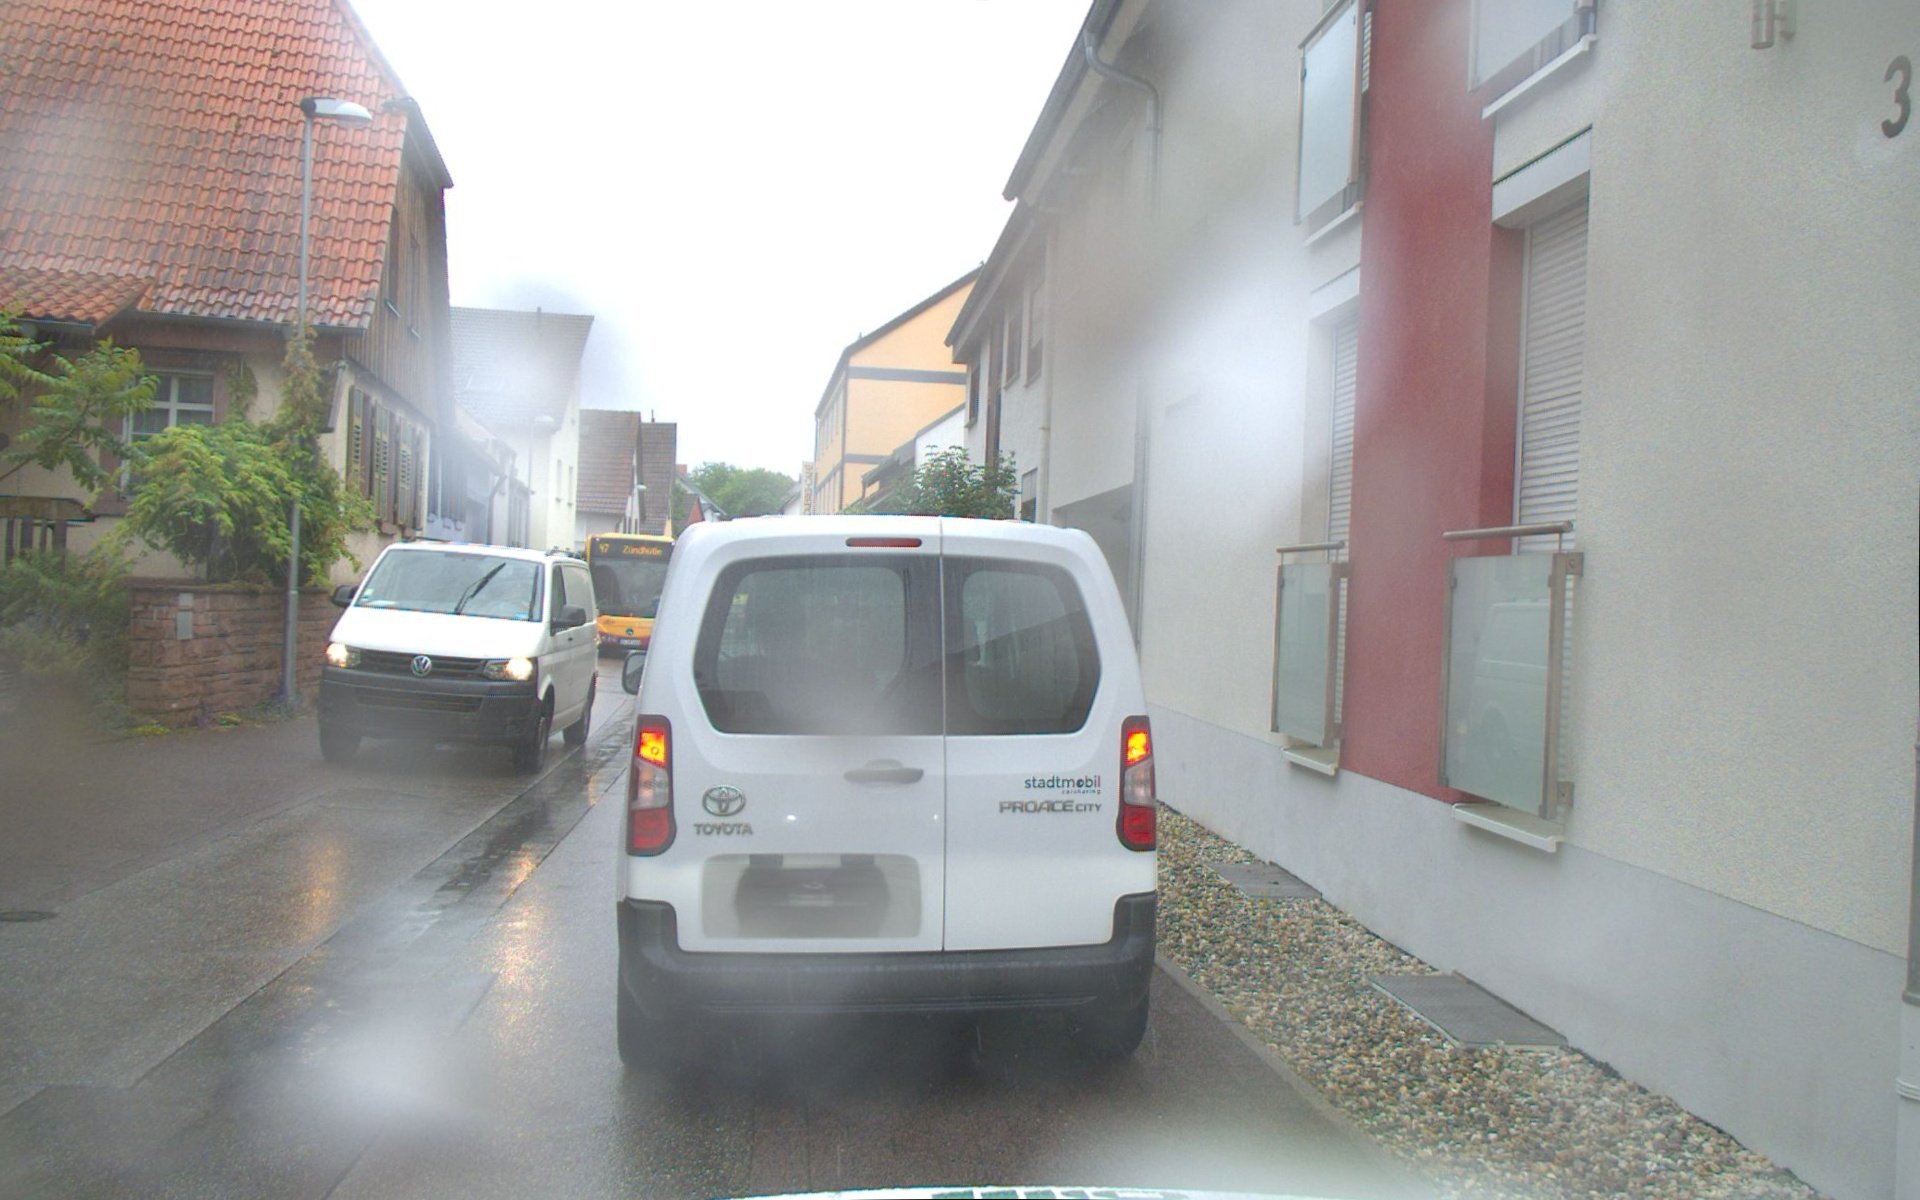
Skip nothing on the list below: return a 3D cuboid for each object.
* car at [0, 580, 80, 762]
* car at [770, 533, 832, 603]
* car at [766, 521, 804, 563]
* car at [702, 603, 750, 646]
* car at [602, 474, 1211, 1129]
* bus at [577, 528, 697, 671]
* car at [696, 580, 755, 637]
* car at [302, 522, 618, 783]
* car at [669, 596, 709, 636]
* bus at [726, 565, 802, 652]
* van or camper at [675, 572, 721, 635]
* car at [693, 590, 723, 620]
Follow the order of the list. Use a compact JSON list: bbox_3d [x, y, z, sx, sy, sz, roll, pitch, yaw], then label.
[{"bbox_3d":[-9.184,0.481,13.141,3.459,1.400,1.593,2,0,-5],"label":"car"},{"bbox_3d":[-5.239,-1.006,54.228,1.793,2.049,3.687,3,-1,-7],"label":"car"},{"bbox_3d":[-9.816,-3.241,92.919,1.955,2.049,3.994,3,-1,-6],"label":"car"},{"bbox_3d":[-8.358,0.879,59.229,1.532,1.395,3.579,4,-1,-7],"label":"car"},{"bbox_3d":[-0.392,0.598,6.839,1.761,1.850,4.094,1,-1,-7],"label":"car"},{"bbox_3d":[-8.572,0.026,44.733,2.742,3.387,8.160,3,-1,-9],"label":"bus"},{"bbox_3d":[-6.797,0.265,48.198,1.532,1.506,3.579,4,-1,-7],"label":"car"},{"bbox_3d":[-4.509,0.458,15.701,1.856,2.001,4.717,3,-1,-5],"label":"car"},{"bbox_3d":[-12.845,0.746,78.428,1.549,1.754,3.546,3,-1,-6],"label":"car"},{"bbox_3d":[-8.189,0.379,68.941,2.741,3.235,8.164,4,-1,-7],"label":"bus"},{"bbox_3d":[-13.227,0.197,83.769,1.800,2.976,5.356,3,-1,-6],"label":"van or camper"},{"bbox_3d":[-15.316,0.318,100.718,1.549,1.754,3.546,3,-1,-6],"label":"car"}]
